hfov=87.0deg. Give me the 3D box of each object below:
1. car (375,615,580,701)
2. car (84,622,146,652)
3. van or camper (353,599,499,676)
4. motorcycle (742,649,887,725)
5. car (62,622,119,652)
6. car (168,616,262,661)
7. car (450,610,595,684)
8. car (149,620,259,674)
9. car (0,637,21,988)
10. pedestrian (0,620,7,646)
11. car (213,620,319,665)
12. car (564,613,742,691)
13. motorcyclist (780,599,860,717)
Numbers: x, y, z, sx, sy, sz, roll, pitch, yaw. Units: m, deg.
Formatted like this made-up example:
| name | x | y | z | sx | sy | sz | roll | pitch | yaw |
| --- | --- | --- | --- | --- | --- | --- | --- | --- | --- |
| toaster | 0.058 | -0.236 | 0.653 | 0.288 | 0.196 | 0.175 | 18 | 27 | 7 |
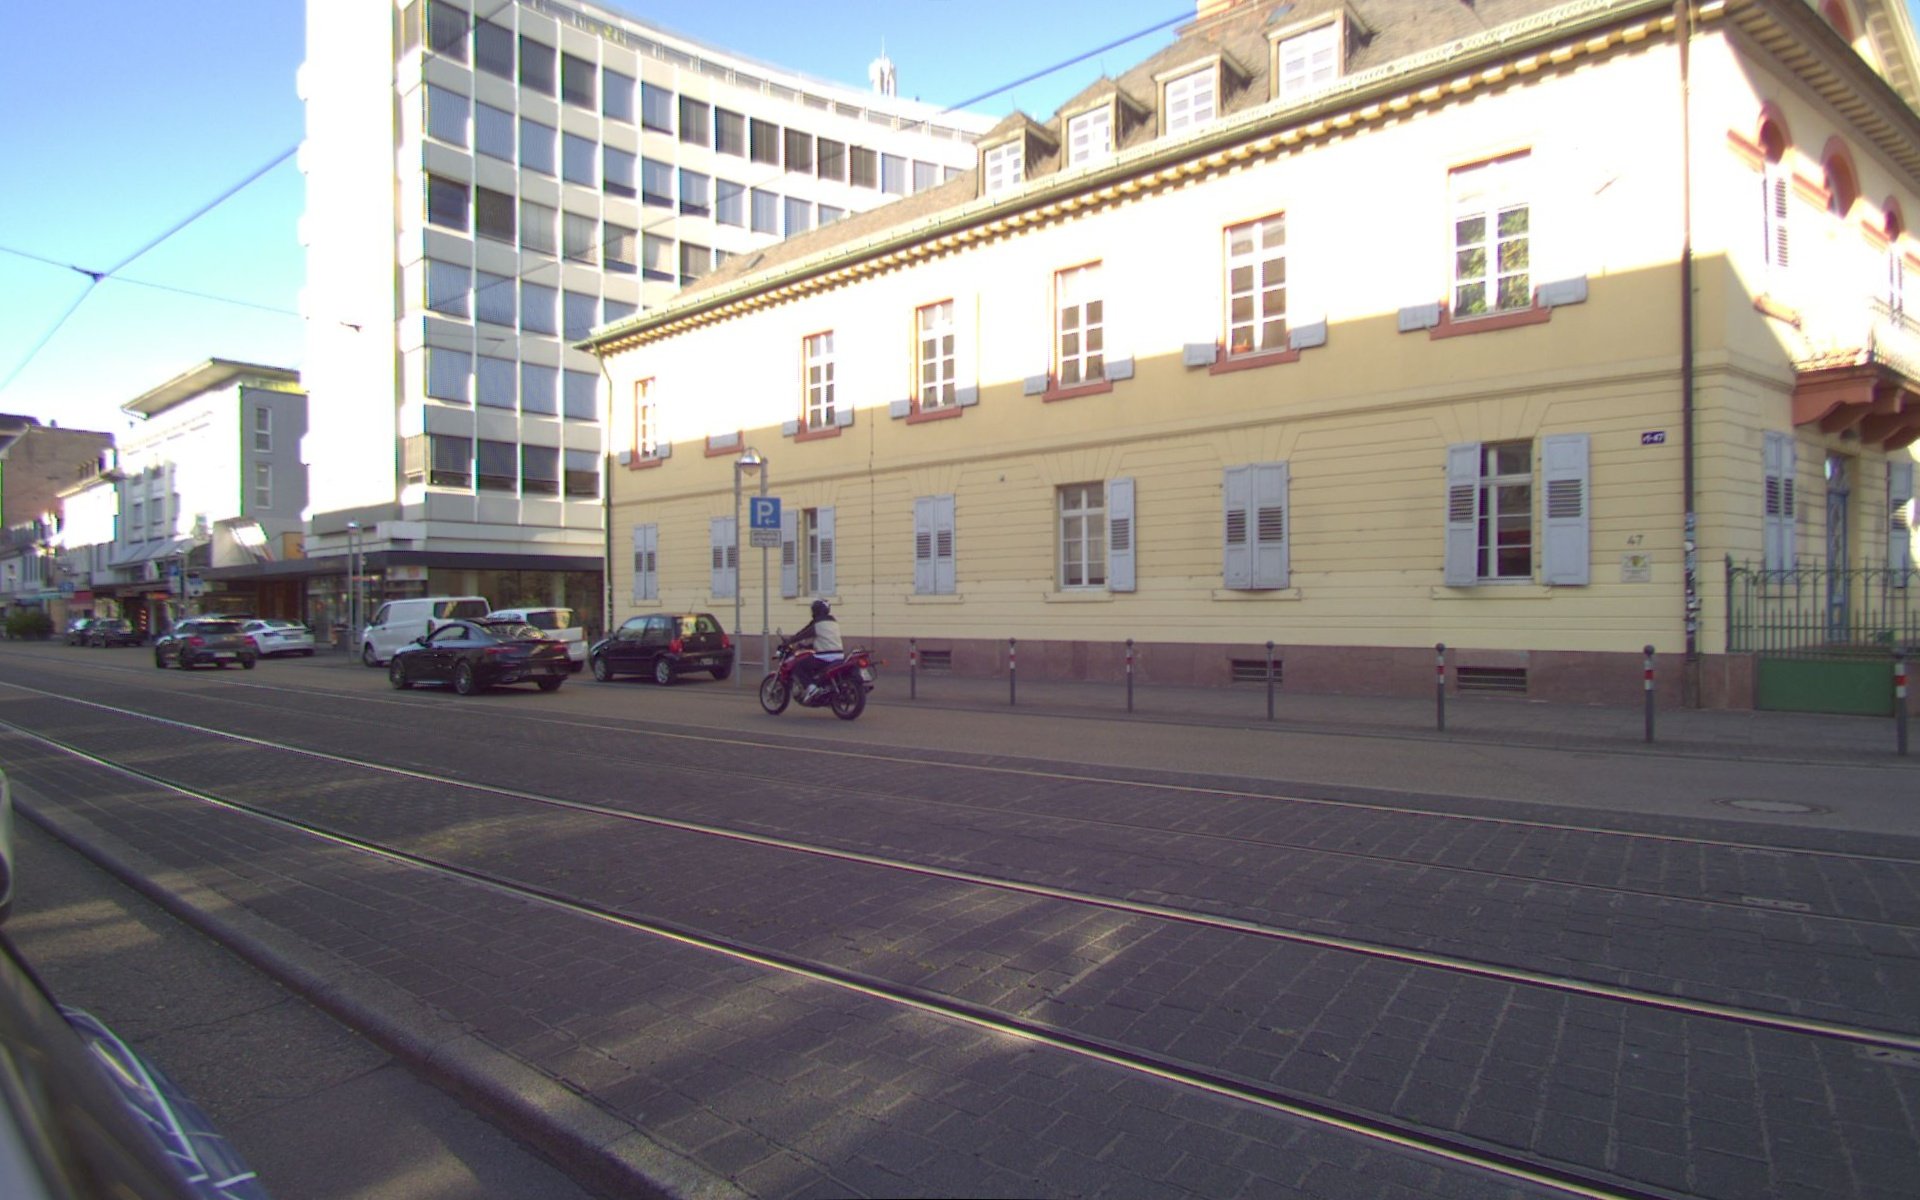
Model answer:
| name | x | y | z | sx | sy | sz | roll | pitch | yaw |
| --- | --- | --- | --- | --- | --- | --- | --- | --- | --- |
| car | -9.605 | 1.083 | 20.003 | 4.663 | 1.521 | 1.760 | -1 | -2 | 38 |
| car | -43.652 | 1.885 | 52.252 | 3.593 | 1.427 | 1.764 | -1 | 0 | 38 |
| van or camper | -15.376 | 1.020 | 29.035 | 4.792 | 1.988 | 1.936 | -1 | 1 | 39 |
| motorcycle | -2.056 | 1.186 | 14.143 | 2.149 | 0.933 | 0.594 | -1 | 0 | 33 |
| car | -47.927 | 2.007 | 55.777 | 3.830 | 1.531 | 1.764 | -1 | 0 | 40 |
| car | -30.116 | 1.522 | 40.880 | 4.275 | 1.654 | 1.908 | -1 | 1 | 37 |
| car | -11.048 | 1.111 | 25.430 | 4.175 | 1.632 | 1.758 | -1 | 1 | 42 |
| car | -22.495 | 1.361 | 30.068 | 3.856 | 1.521 | 1.759 | -1 | -2 | 40 |
| car | -6.373 | 0.893 | 5.082 | 4.771 | 1.450 | 1.845 | -1 | -2 | 40 |
| pedestrian | -68.628 | 2.364 | 72.005 | 1.030 | 1.835 | 0.999 | -1 | 0 | 33 |
| car | -25.677 | 1.524 | 37.407 | 4.285 | 1.463 | 1.909 | -1 | 1 | 36 |
| car | -6.632 | 1.046 | 21.706 | 3.958 | 1.450 | 1.759 | -1 | 1 | 40 |
| motorcyclist | -1.940 | 0.782 | 14.049 | 0.881 | 1.570 | 0.647 | -1 | 0 | 32 |
